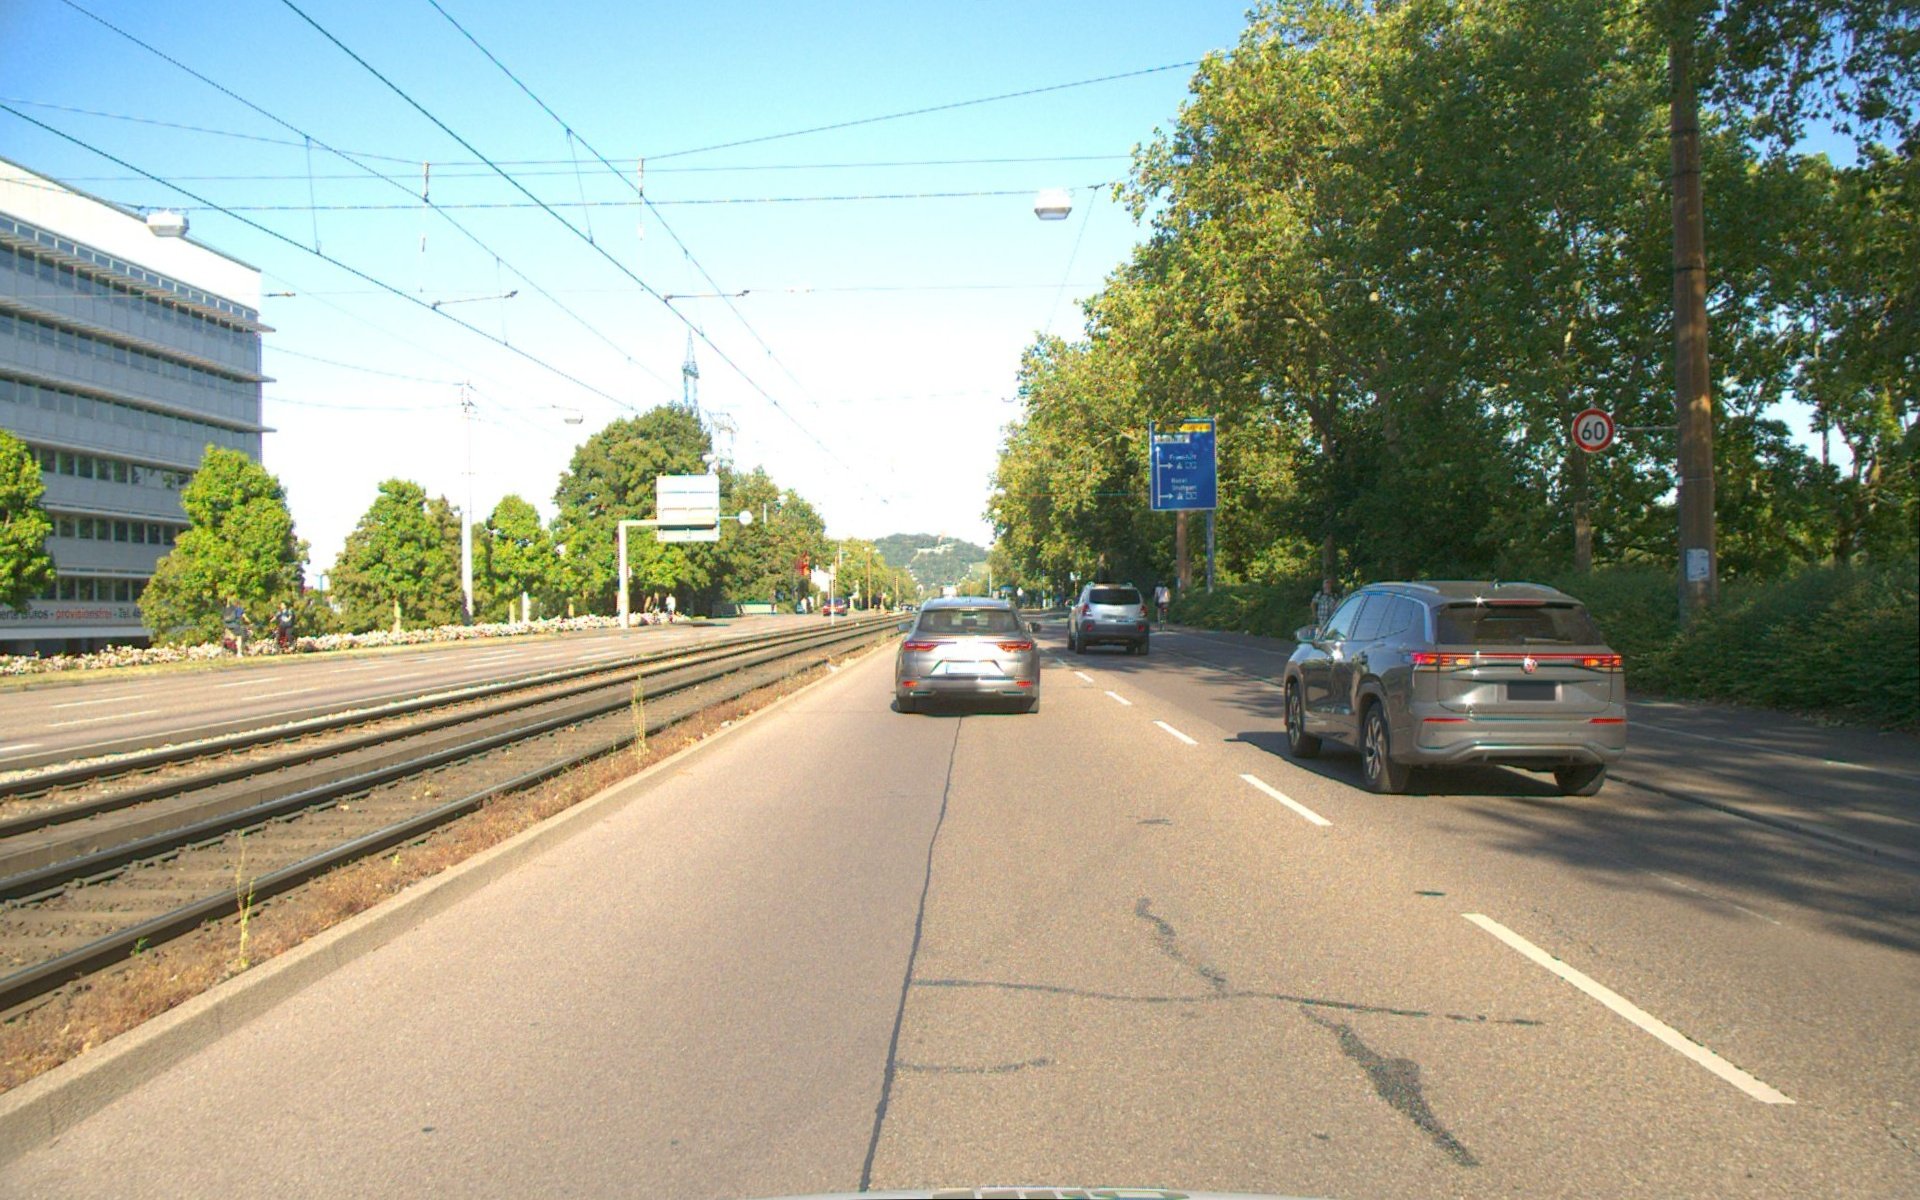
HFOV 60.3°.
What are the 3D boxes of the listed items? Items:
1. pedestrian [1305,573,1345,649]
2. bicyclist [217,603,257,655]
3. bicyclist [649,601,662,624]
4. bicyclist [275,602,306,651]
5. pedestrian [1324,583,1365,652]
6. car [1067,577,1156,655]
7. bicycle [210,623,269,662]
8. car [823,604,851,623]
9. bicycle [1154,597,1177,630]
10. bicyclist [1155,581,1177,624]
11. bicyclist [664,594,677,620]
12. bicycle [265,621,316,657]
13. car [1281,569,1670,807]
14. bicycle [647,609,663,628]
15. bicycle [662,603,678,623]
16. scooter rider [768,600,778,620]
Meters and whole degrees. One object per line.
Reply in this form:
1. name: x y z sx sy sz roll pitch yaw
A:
1. pedestrian: 8.489 0.245 38.528 0.707 1.737 0.813 -2 0 0
2. bicyclist: -21.948 0.886 50.243 0.690 1.539 0.971 1 0 7
3. bicyclist: -18.784 0.769 101.957 0.612 1.398 0.880 1 0 1
4. bicyclist: -23.086 0.895 57.020 0.647 1.652 0.802 1 0 10
5. pedestrian: 8.578 0.382 36.886 0.708 1.506 0.722 -2 0 0
6. car: 3.785 0.370 41.963 1.845 1.827 4.000 1 0 0
7. bicycle: -21.933 1.278 50.399 0.690 1.092 2.029 1 0 7
8. car: -10.892 1.167 146.260 1.997 1.529 4.888 -1 0 1
9. bicycle: 7.475 0.484 60.207 0.609 1.140 1.813 -2 0 0
10. bicyclist: 7.477 0.084 60.104 0.671 1.535 0.891 0 0 0
11. bicyclist: -18.810 0.437 107.385 0.590 1.688 0.963 1 0 4
12. bicycle: -23.087 1.337 57.079 0.647 1.171 2.024 1 0 10
13. car: 4.129 0.612 14.069 1.807 1.690 4.438 1 0 -2
14. bicycle: -18.802 1.137 101.955 0.612 1.077 1.703 1 0 1
15. bicycle: -18.818 0.835 107.416 0.590 1.240 1.749 1 0 4
16. scooter rider: -17.785 0.950 157.181 0.667 1.881 1.001 -1 0 8
